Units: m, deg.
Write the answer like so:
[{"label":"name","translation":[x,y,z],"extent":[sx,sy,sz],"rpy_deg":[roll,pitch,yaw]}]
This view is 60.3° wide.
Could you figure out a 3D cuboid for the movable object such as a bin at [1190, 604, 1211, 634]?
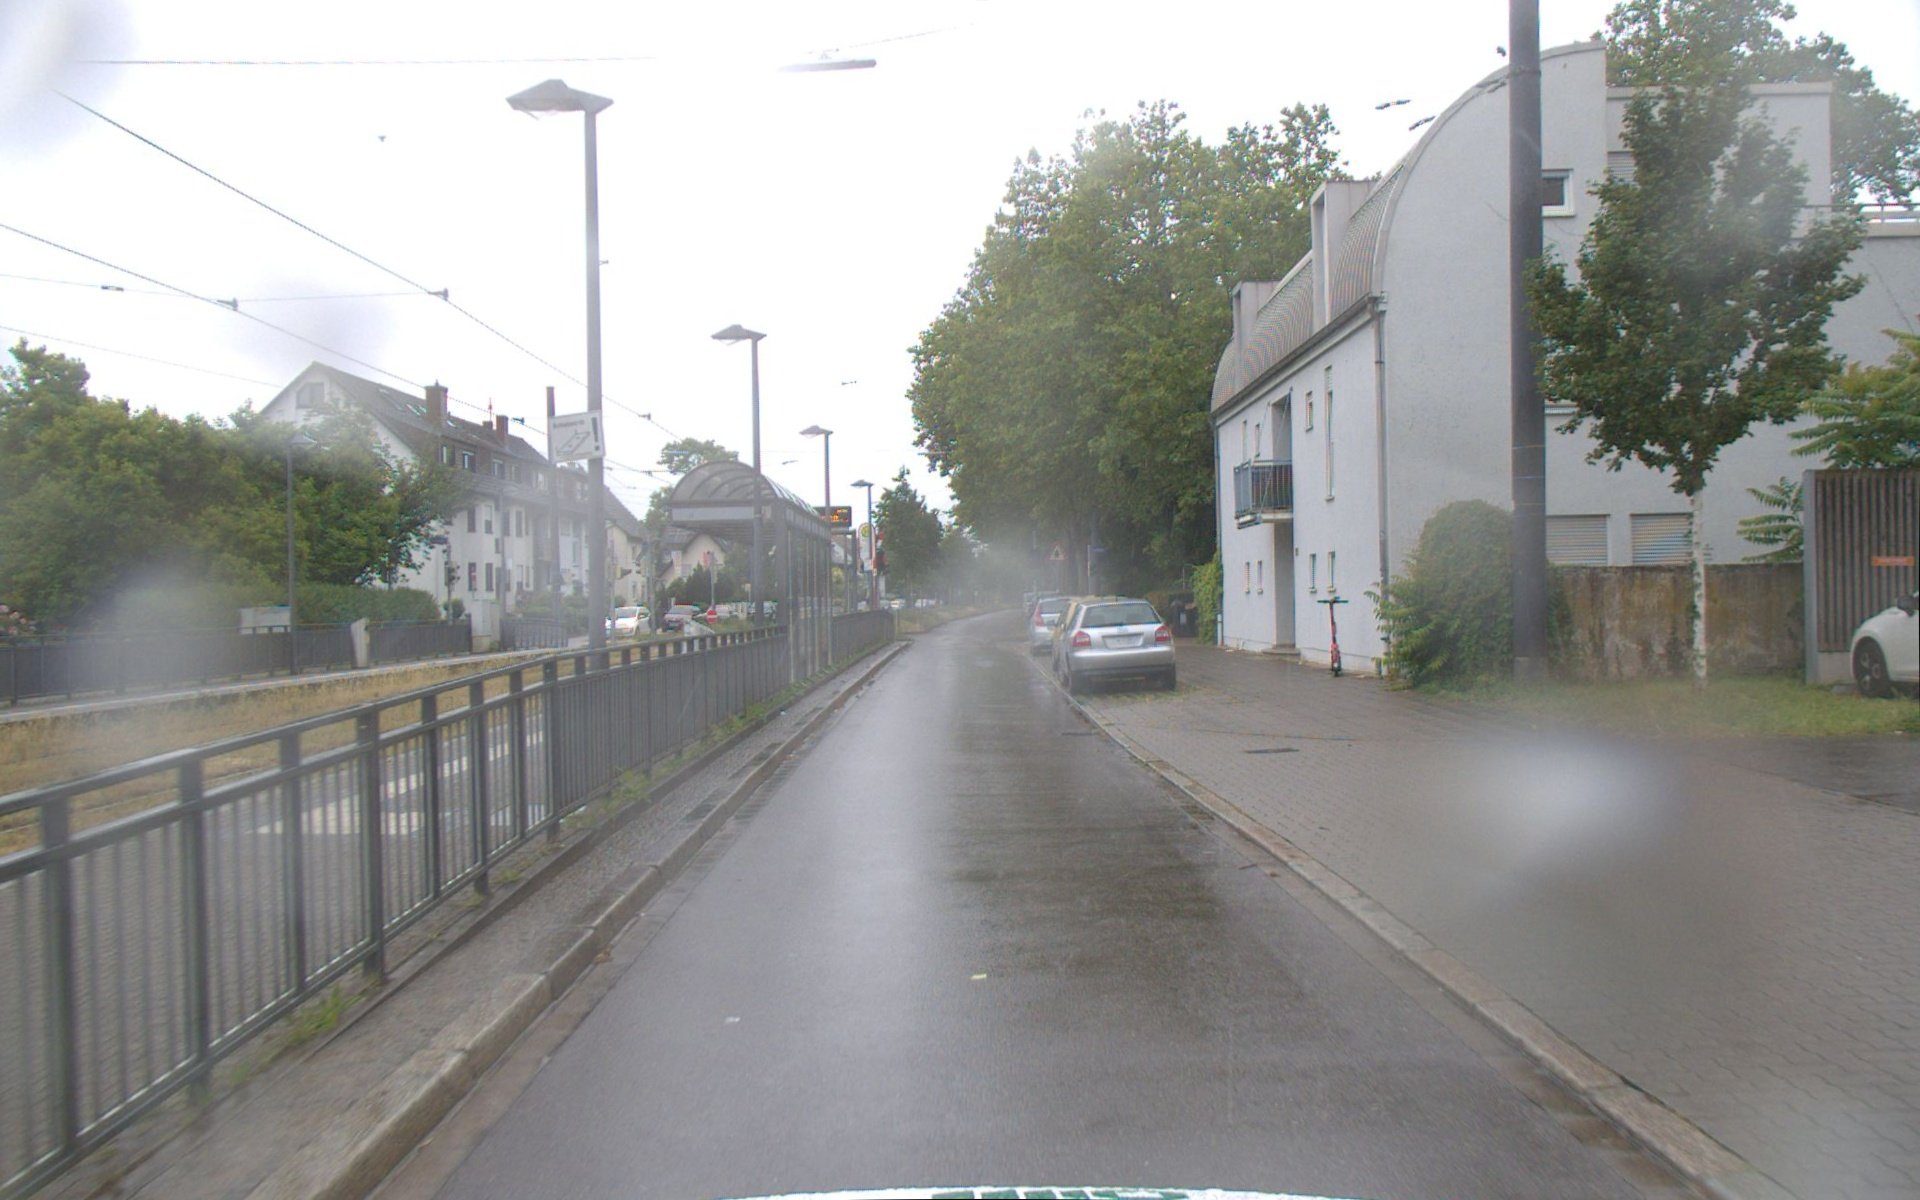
[{"label":"movable object such as a bin","translation":[7.571,0.601,52.082],"extent":[0.525,0.914,0.738],"rpy_deg":[-3,-1,-1]}]

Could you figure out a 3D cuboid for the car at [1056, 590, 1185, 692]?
[{"label":"car","translation":[2.577,0.654,27.487],"extent":[1.616,1.429,4.649],"rpy_deg":[-4,-1,0]}]

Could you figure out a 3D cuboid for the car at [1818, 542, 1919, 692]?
[{"label":"car","translation":[10.950,0.174,17.159],"extent":[1.922,1.561,4.364],"rpy_deg":[0,1,1]}]

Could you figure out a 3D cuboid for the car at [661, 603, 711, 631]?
[{"label":"car","translation":[-15.132,0.952,91.639],"extent":[1.888,1.512,4.001],"rpy_deg":[0,-1,3]}]

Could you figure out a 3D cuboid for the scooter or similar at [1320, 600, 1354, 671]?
[{"label":"scooter or similar","translation":[6.007,0.566,26.385],"extent":[0.326,1.104,1.396],"rpy_deg":[0,-1,5]}]

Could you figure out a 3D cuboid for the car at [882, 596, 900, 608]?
[{"label":"car","translation":[-8.970,0.274,214.456],"extent":[1.888,1.512,4.001],"rpy_deg":[0,-1,3]}]

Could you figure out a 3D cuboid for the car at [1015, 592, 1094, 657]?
[{"label":"car","translation":[2.416,0.642,43.189],"extent":[1.770,1.493,3.794],"rpy_deg":[-4,-1,0]}]

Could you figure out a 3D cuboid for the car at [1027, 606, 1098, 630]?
[{"label":"car","translation":[6.279,1.112,101.549],"extent":[3.920,1.478,1.992],"rpy_deg":[0,-1,-15]}]

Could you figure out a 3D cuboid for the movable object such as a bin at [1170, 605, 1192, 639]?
[{"label":"movable object such as a bin","translation":[6.975,0.694,52.230],"extent":[0.525,1.039,0.738],"rpy_deg":[-3,-1,-1]}]

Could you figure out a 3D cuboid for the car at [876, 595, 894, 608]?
[{"label":"car","translation":[-9.193,0.193,203.137],"extent":[1.888,1.512,4.001],"rpy_deg":[0,-1,3]}]

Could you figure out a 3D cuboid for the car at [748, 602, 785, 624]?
[{"label":"car","translation":[-13.620,0.950,116.531],"extent":[1.888,1.512,4.001],"rpy_deg":[0,-1,3]}]

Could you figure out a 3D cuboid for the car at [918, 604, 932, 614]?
[{"label":"car","translation":[-5.416,1.399,257.986],"extent":[1.888,1.512,4.001],"rpy_deg":[0,-1,3]}]

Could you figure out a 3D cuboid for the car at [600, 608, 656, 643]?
[{"label":"car","translation":[-14.691,1.137,73.402],"extent":[1.599,1.519,4.000],"rpy_deg":[0,-1,1]}]

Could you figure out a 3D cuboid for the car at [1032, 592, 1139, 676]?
[{"label":"car","translation":[2.440,0.666,32.924],"extent":[1.770,1.429,3.794],"rpy_deg":[-4,-1,0]}]

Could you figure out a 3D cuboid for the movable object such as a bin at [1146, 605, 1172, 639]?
[{"label":"movable object such as a bin","translation":[6.355,0.701,52.889],"extent":[0.678,1.039,0.824],"rpy_deg":[-3,-1,-1]}]
